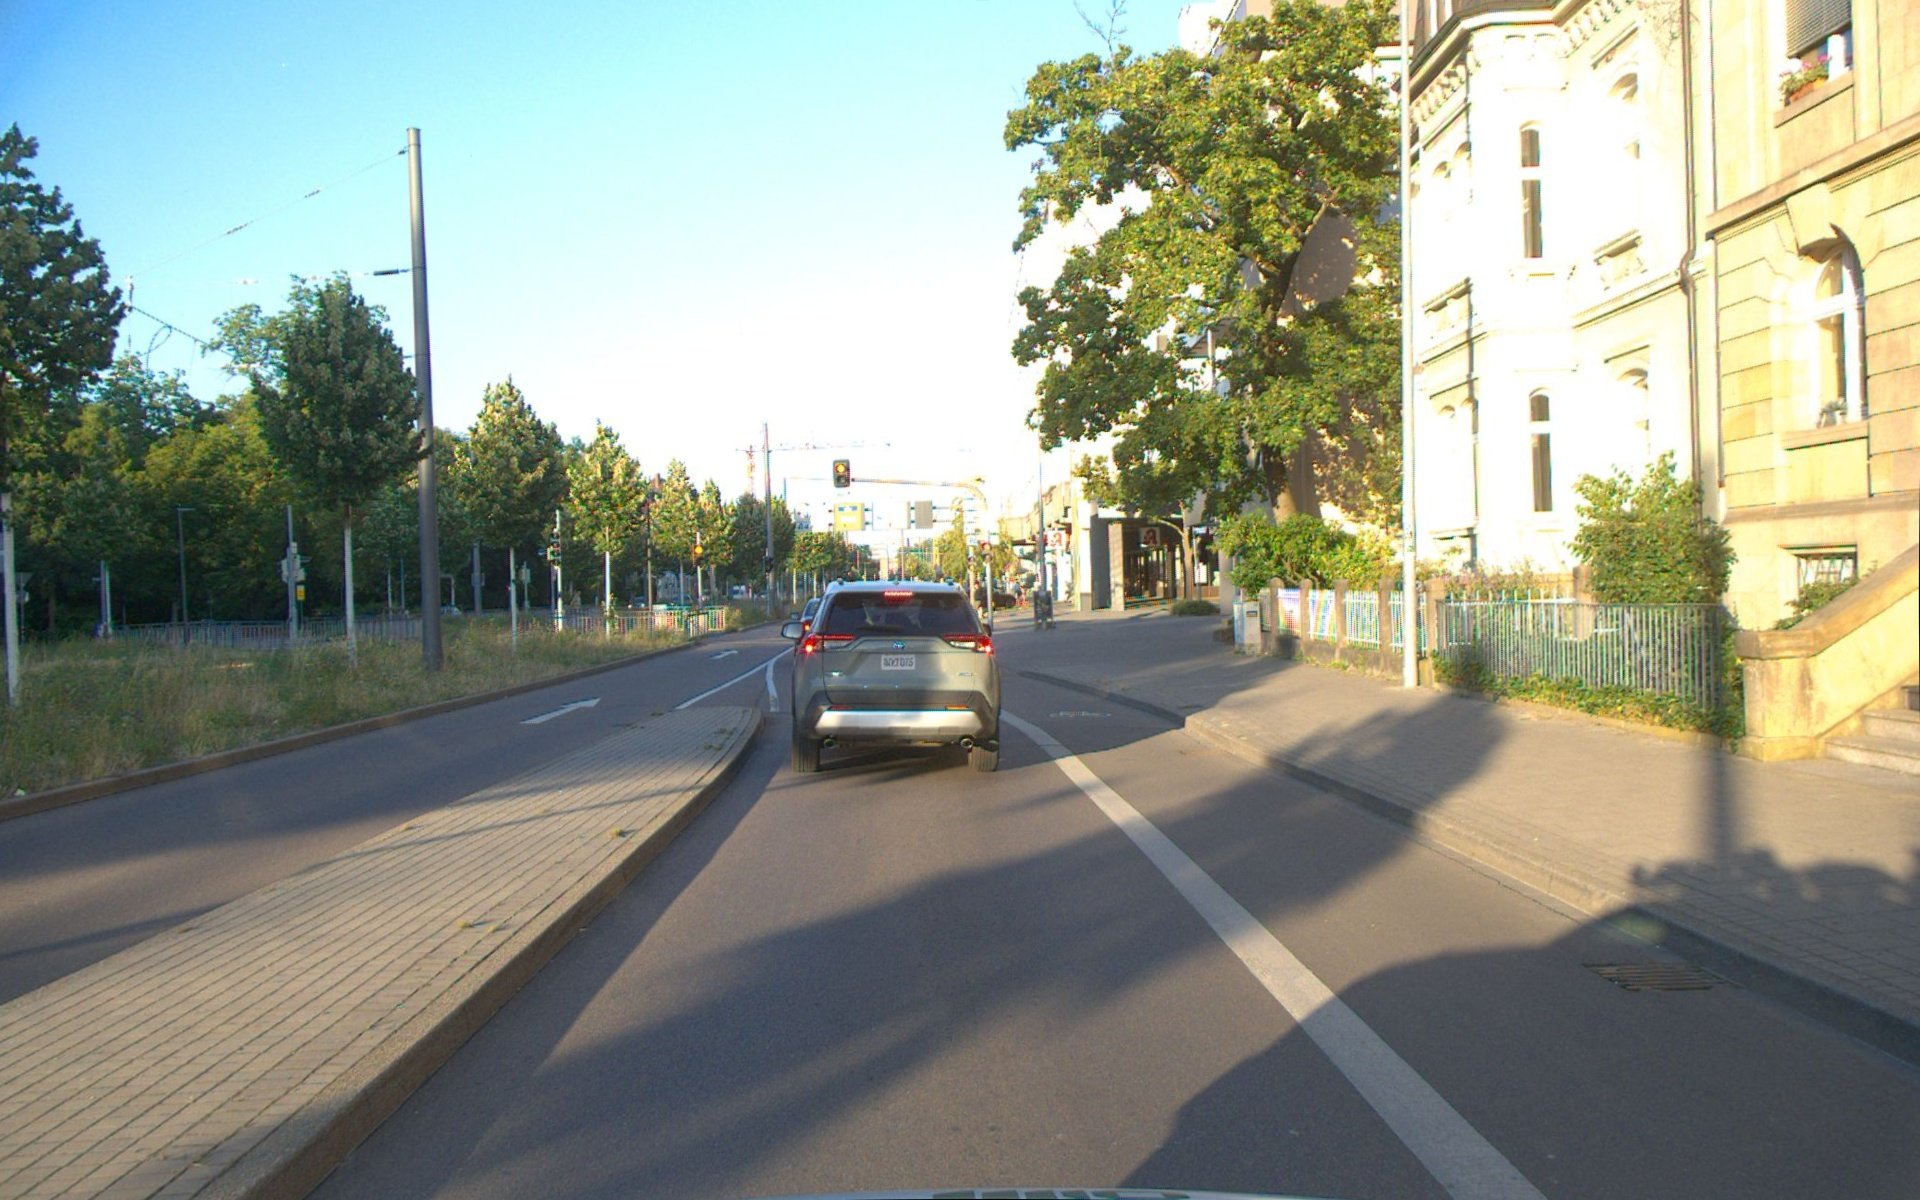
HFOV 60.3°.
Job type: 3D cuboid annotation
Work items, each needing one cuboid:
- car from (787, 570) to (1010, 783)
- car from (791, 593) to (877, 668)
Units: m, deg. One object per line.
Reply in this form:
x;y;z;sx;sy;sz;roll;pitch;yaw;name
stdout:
-0.600;0.610;15.672;1.821;1.744;4.190;0;0;-3;car
-2.782;0.648;37.313;1.821;1.578;4.107;0;0;-3;car
